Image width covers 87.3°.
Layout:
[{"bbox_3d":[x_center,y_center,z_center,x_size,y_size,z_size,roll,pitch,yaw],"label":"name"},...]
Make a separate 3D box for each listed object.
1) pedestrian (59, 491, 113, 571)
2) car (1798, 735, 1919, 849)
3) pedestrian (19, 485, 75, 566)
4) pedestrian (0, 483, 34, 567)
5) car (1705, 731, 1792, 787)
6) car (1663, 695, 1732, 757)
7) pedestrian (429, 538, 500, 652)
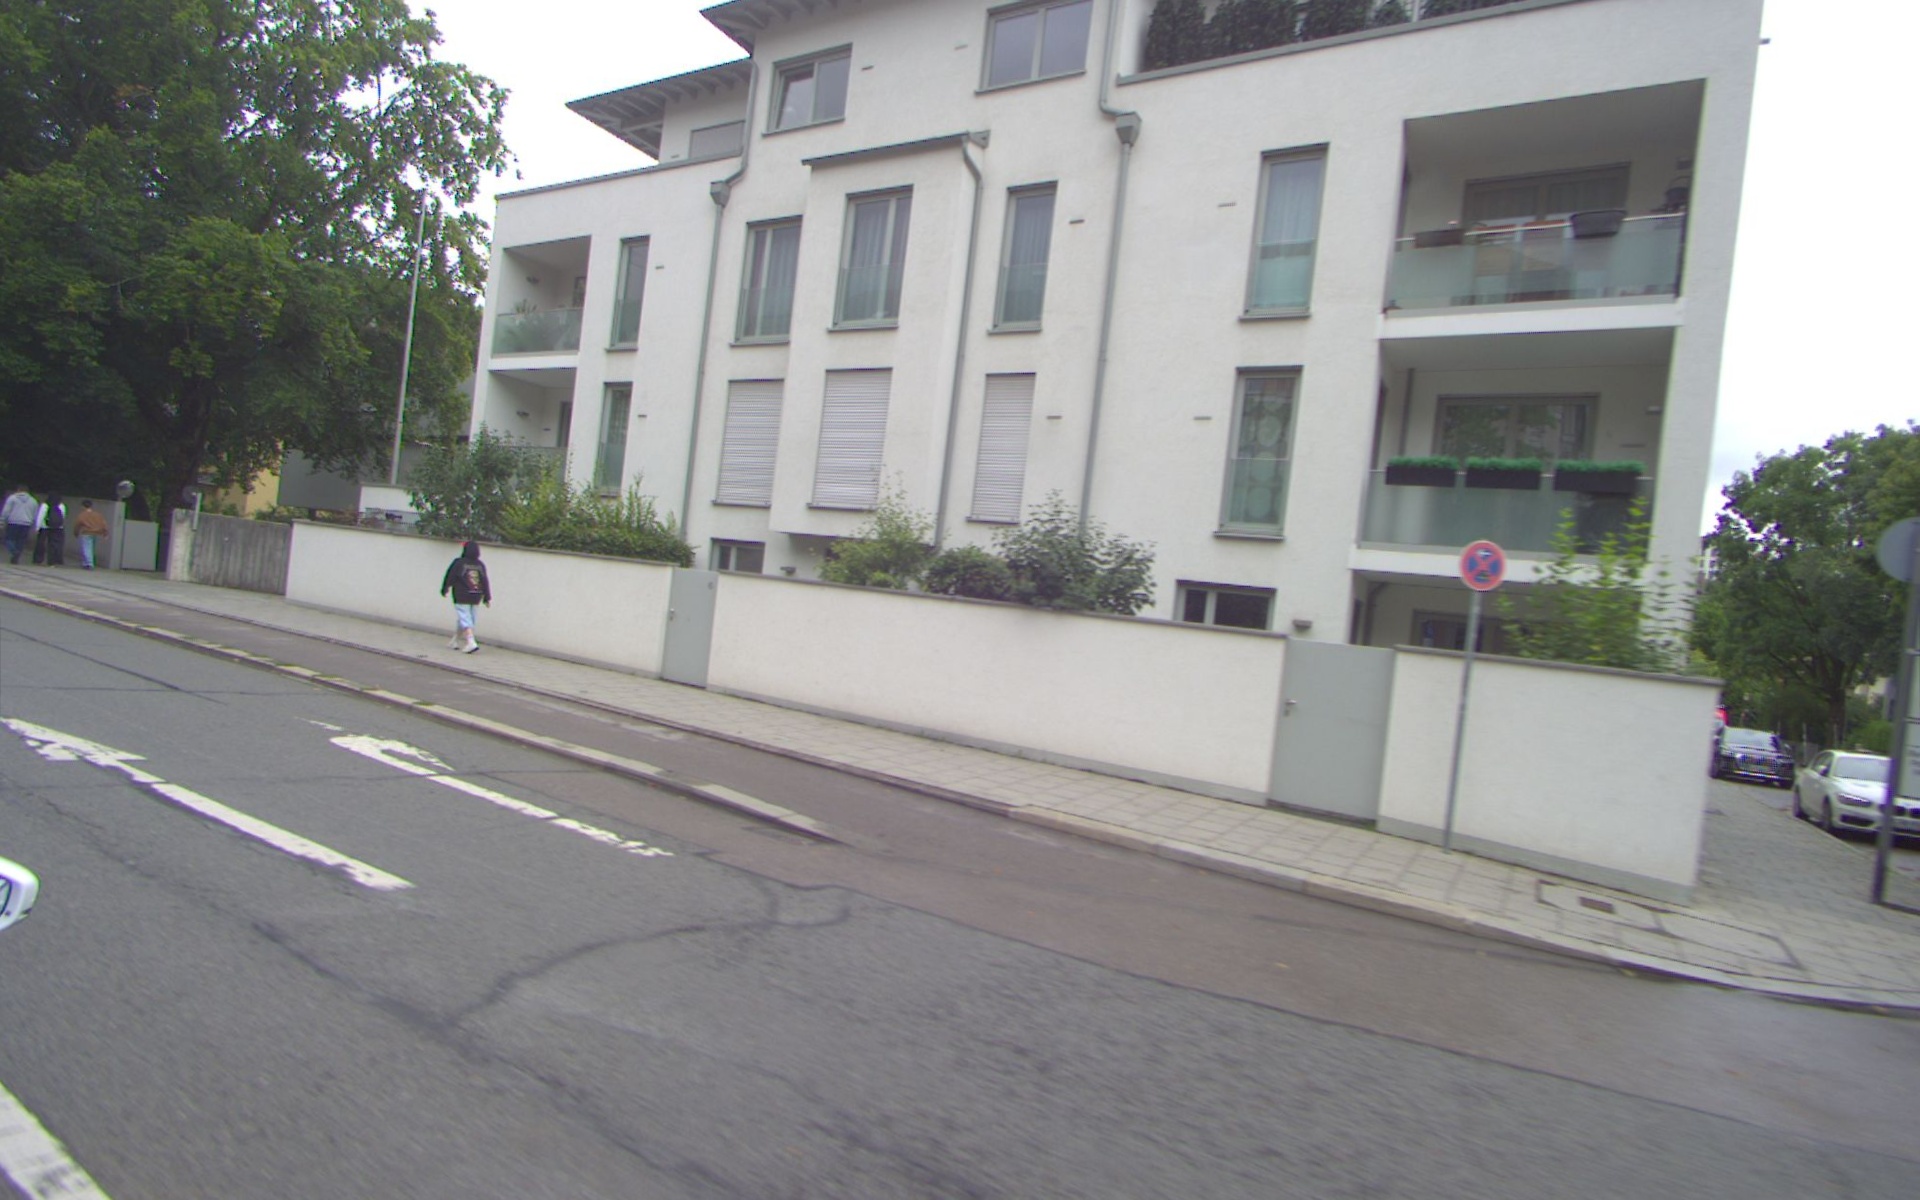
[{"bbox_3d":[-20.027,-1.571,23.051,0.753,1.728,0.666,7,3,31],"label":"pedestrian"},{"bbox_3d":[15.814,3.246,17.256,1.840,1.482,3.987,6,-1,37],"label":"car"},{"bbox_3d":[-20.334,-1.653,22.404,0.716,1.715,0.666,7,3,31],"label":"pedestrian"},{"bbox_3d":[-20.697,-1.645,21.814,0.716,1.745,0.666,7,3,31],"label":"pedestrian"},{"bbox_3d":[23.763,4.765,30.421,1.839,1.269,2.991,7,-1,37],"label":"car"},{"bbox_3d":[33.056,5.592,45.221,1.837,2.360,4.682,6,-1,31],"label":"car"},{"bbox_3d":[-7.341,-0.070,14.901,0.716,1.602,0.528,7,3,31],"label":"pedestrian"}]
